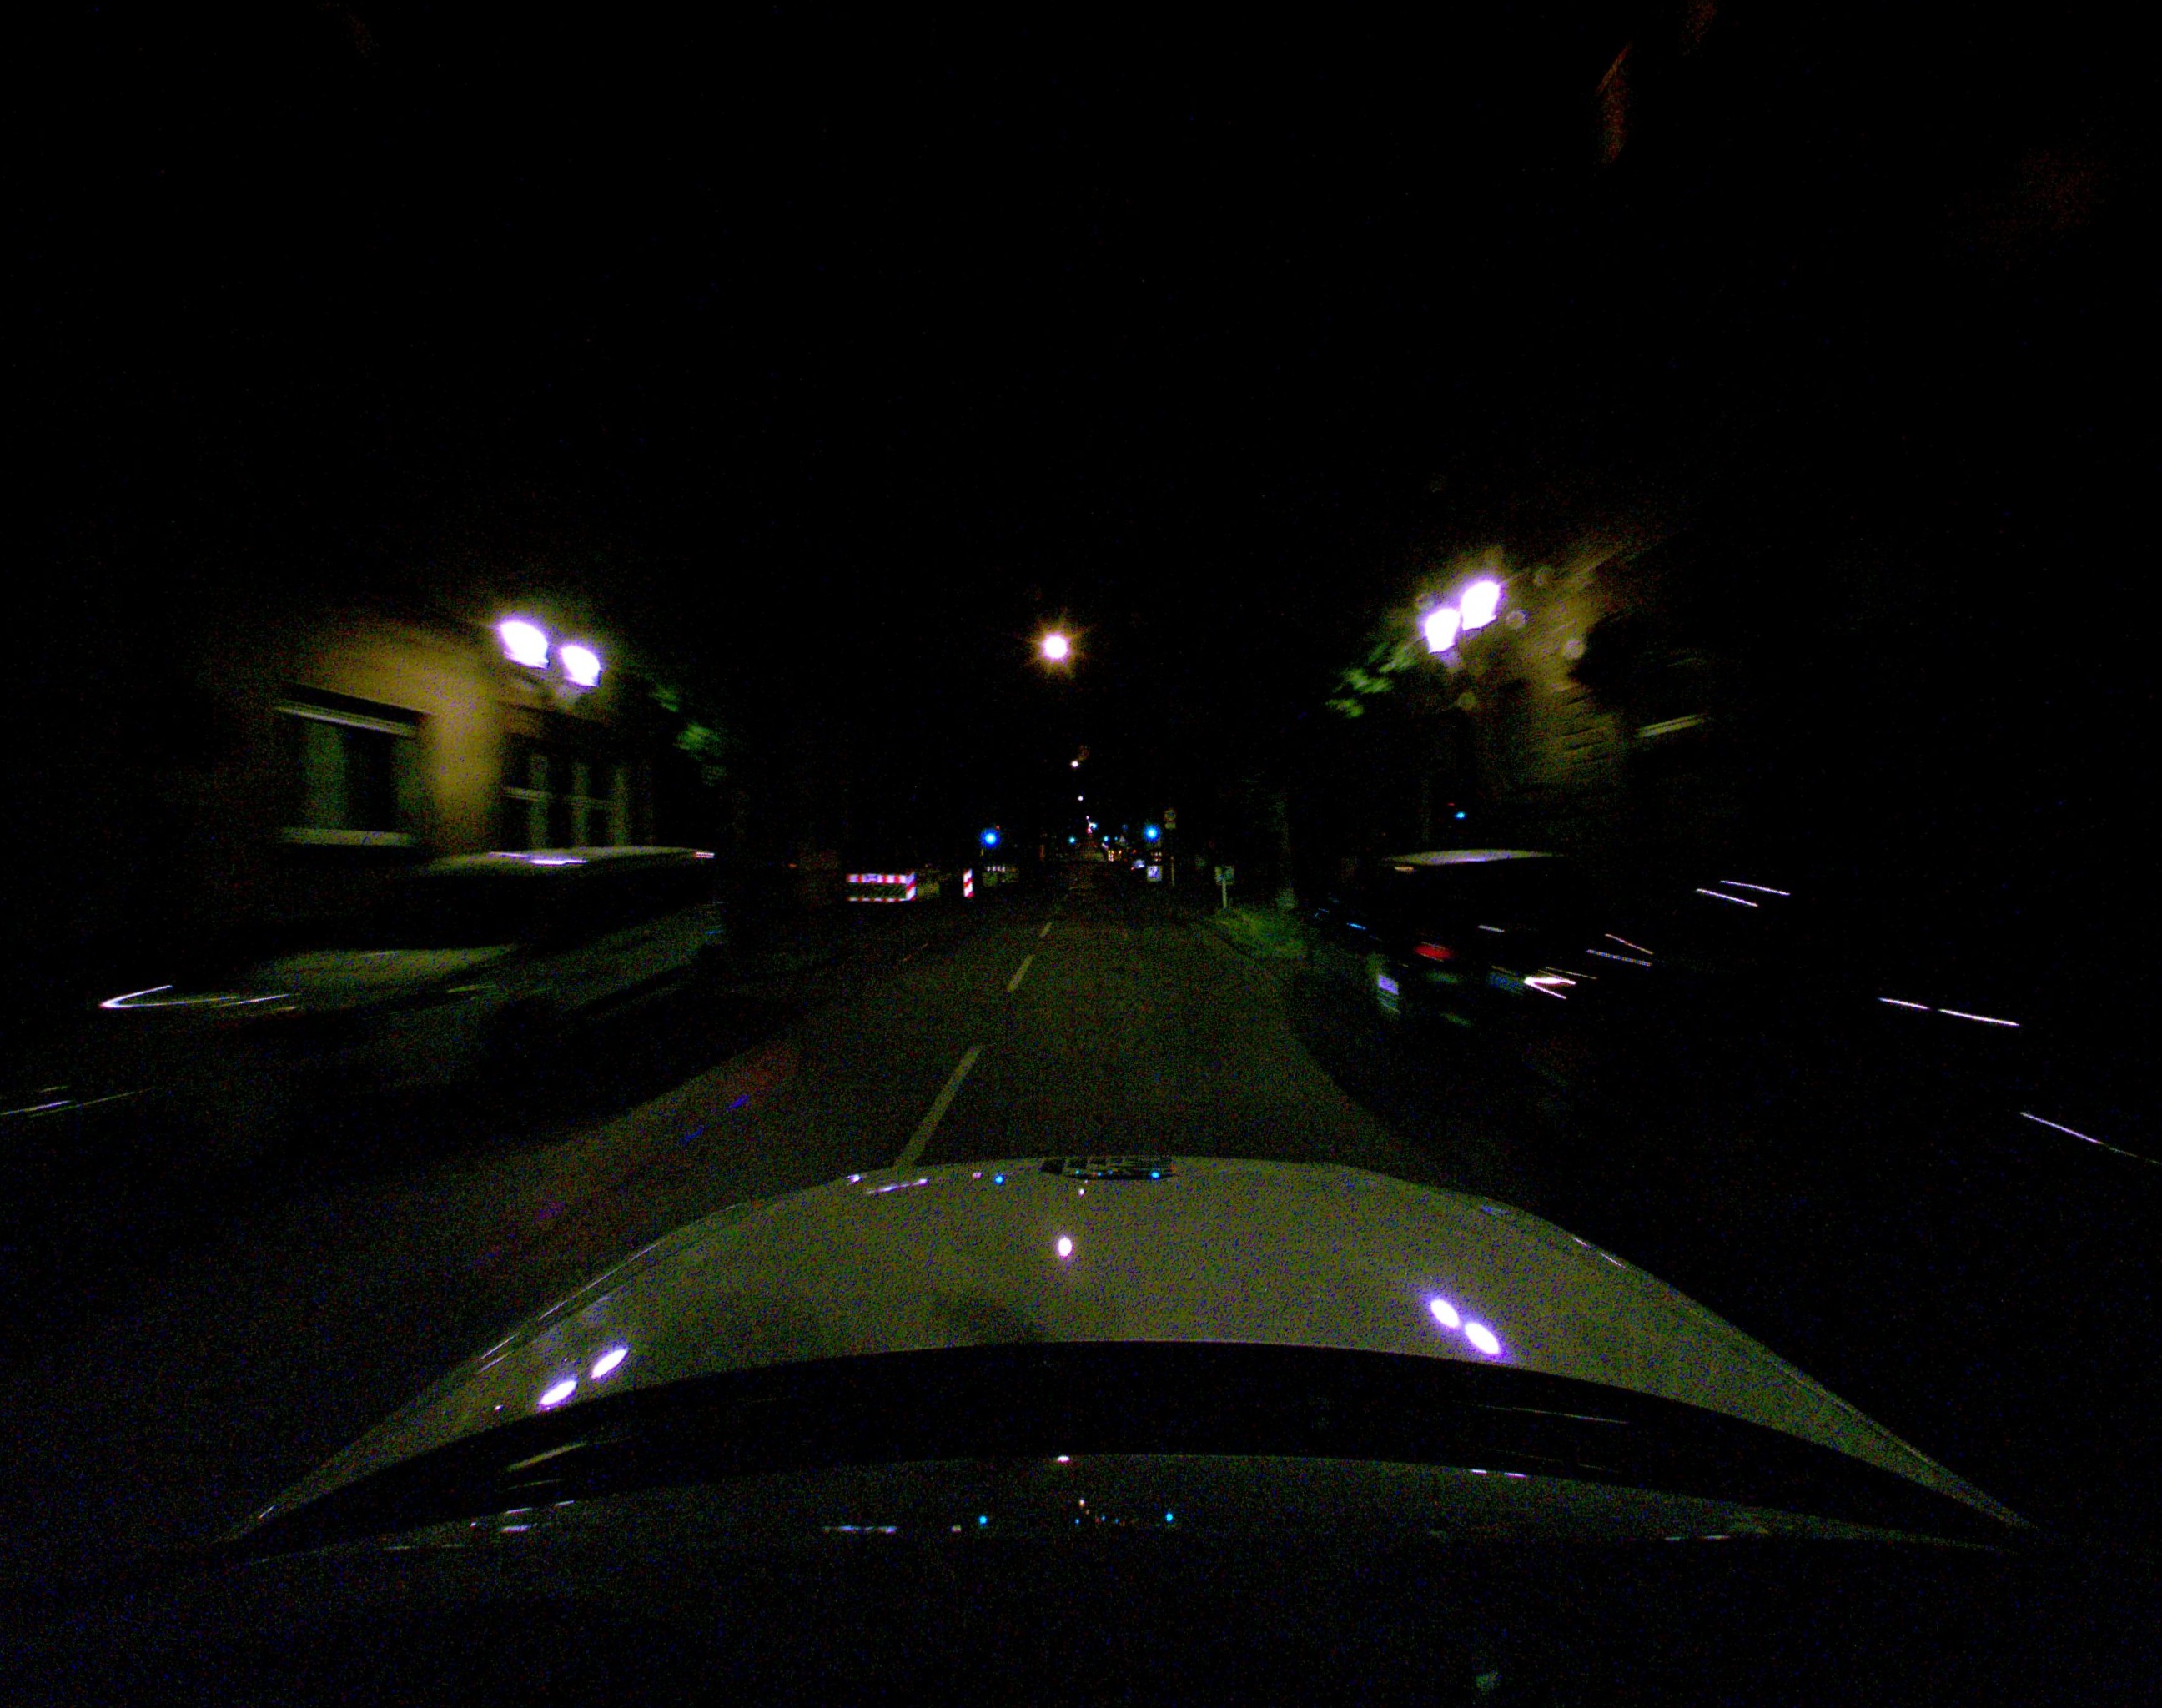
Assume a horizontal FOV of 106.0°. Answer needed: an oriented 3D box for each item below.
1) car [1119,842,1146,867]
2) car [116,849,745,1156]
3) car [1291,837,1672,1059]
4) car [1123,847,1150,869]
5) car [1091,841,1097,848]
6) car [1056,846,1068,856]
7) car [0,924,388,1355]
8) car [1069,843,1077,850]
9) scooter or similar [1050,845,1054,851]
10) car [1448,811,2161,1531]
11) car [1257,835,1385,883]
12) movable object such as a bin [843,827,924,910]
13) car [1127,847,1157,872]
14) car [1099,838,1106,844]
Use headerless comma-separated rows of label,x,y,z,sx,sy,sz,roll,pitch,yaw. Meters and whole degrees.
car,4.185,-0.004,66.828,1.730,1.855,4.315,-4,1,-1
car,-5.111,0.927,7.566,1.877,1.843,4.814,-3,0,0
car,3.312,0.650,7.695,1.729,1.454,4.003,-4,0,3
car,4.105,0.287,60.842,1.680,1.420,4.444,-4,1,1
car,4.071,-2.967,255.287,1.866,1.814,4.207,-3,1,2
car,-3.132,-0.488,134.193,1.665,1.443,4.205,-3,1,1
car,-4.970,1.166,2.211,1.832,1.450,4.883,-2,0,2
car,-2.065,-1.925,206.384,1.867,1.544,4.205,-3,1,1
scooter or similar,-5.676,-1.113,160.127,0.526,1.165,2.507,-5,-1,0
car,3.126,0.644,2.691,1.727,1.501,4.466,-3,0,0
car,8.614,0.193,29.423,4.003,1.422,1.851,-3,-1,-1
movable object such as a bin,-6.844,0.454,28.613,1.565,2.626,3.911,-4,0,2
car,4.133,0.327,55.827,1.733,1.477,4.001,-5,1,1
car,6.768,-4.081,256.657,1.867,1.544,4.205,-3,1,1
